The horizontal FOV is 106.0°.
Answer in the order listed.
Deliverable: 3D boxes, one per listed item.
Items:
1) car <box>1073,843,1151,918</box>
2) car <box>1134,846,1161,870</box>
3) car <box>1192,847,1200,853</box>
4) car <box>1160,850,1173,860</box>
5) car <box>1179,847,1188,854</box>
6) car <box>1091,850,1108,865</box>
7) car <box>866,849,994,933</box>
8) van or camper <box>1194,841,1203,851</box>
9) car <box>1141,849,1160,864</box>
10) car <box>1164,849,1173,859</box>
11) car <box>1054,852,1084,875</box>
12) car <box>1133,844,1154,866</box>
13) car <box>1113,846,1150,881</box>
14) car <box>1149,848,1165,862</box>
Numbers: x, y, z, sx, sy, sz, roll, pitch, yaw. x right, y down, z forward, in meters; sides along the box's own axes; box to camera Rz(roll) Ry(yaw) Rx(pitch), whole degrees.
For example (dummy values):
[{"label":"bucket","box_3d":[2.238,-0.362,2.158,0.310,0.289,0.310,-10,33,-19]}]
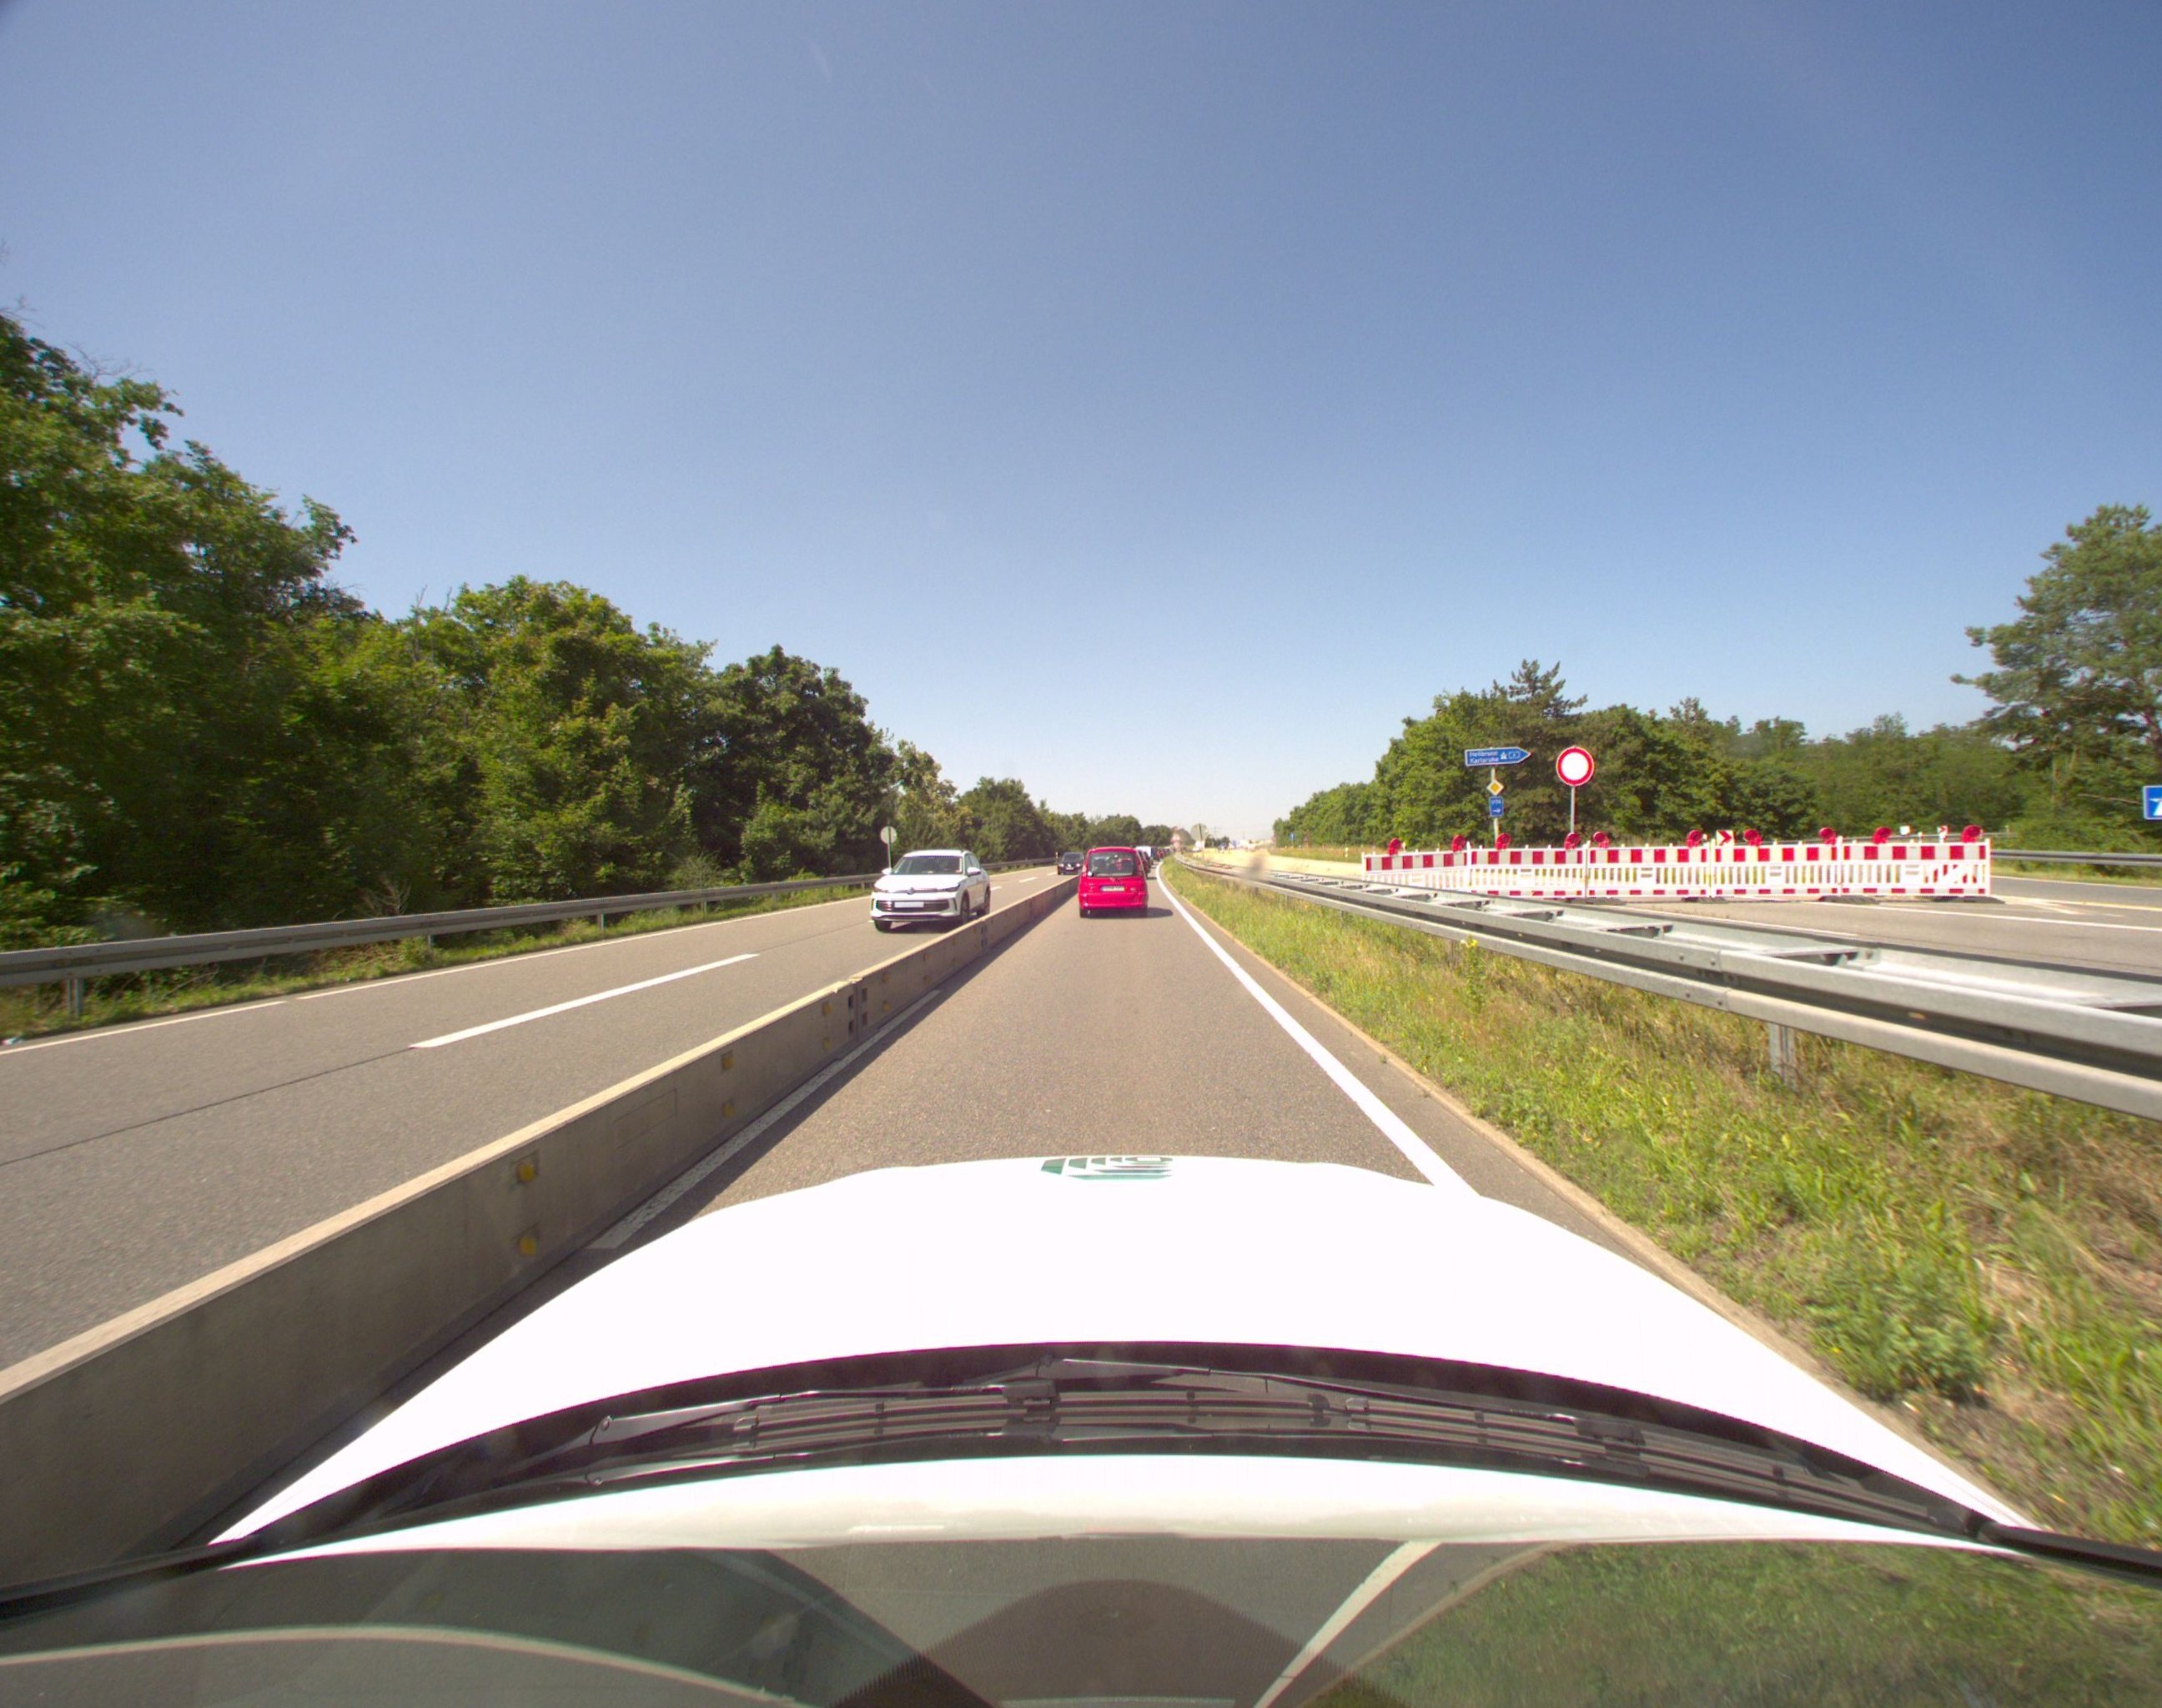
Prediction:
[{"label":"car","box_3d":[0.815,0.613,20.638,1.744,1.673,4.003,-1,0,3]},{"label":"car","box_3d":[5.498,0.326,68.092,1.986,1.838,4.002,-2,0,2]},{"label":"car","box_3d":[31.187,-1.102,221.131,1.983,1.486,4.007,-2,0,6]},{"label":"car","box_3d":[13.633,0.152,129.335,1.984,1.585,4.006,-1,0,5]},{"label":"car","box_3d":[23.626,-0.909,187.821,1.983,1.552,4.008,-2,0,7]},{"label":"car","box_3d":[2.001,0.390,86.163,1.718,1.496,4.391,-1,0,2]},{"label":"car","box_3d":[-3.132,0.711,17.845,1.841,1.601,4.324,-1,0,2]},{"label":"van or camper","box_3d":[33.593,-2.324,233.331,2.316,2.706,4.600,-2,0,5]},{"label":"car","box_3d":[8.324,0.245,98.127,1.986,1.750,4.002,-2,0,2]},{"label":"car","box_3d":[15.074,0.038,139.998,1.493,1.736,3.177,-1,0,8]},{"label":"car","box_3d":[-0.779,0.634,54.806,1.809,1.424,4.110,-1,0,1]},{"label":"car","box_3d":[6.217,0.088,81.227,1.984,2.003,4.005,-2,0,5]},{"label":"car","box_3d":[2.728,0.492,44.309,1.823,1.722,4.003,-2,0,3]},{"label":"car","box_3d":[10.685,0.130,114.622,1.985,1.783,4.003,-2,0,3]}]
